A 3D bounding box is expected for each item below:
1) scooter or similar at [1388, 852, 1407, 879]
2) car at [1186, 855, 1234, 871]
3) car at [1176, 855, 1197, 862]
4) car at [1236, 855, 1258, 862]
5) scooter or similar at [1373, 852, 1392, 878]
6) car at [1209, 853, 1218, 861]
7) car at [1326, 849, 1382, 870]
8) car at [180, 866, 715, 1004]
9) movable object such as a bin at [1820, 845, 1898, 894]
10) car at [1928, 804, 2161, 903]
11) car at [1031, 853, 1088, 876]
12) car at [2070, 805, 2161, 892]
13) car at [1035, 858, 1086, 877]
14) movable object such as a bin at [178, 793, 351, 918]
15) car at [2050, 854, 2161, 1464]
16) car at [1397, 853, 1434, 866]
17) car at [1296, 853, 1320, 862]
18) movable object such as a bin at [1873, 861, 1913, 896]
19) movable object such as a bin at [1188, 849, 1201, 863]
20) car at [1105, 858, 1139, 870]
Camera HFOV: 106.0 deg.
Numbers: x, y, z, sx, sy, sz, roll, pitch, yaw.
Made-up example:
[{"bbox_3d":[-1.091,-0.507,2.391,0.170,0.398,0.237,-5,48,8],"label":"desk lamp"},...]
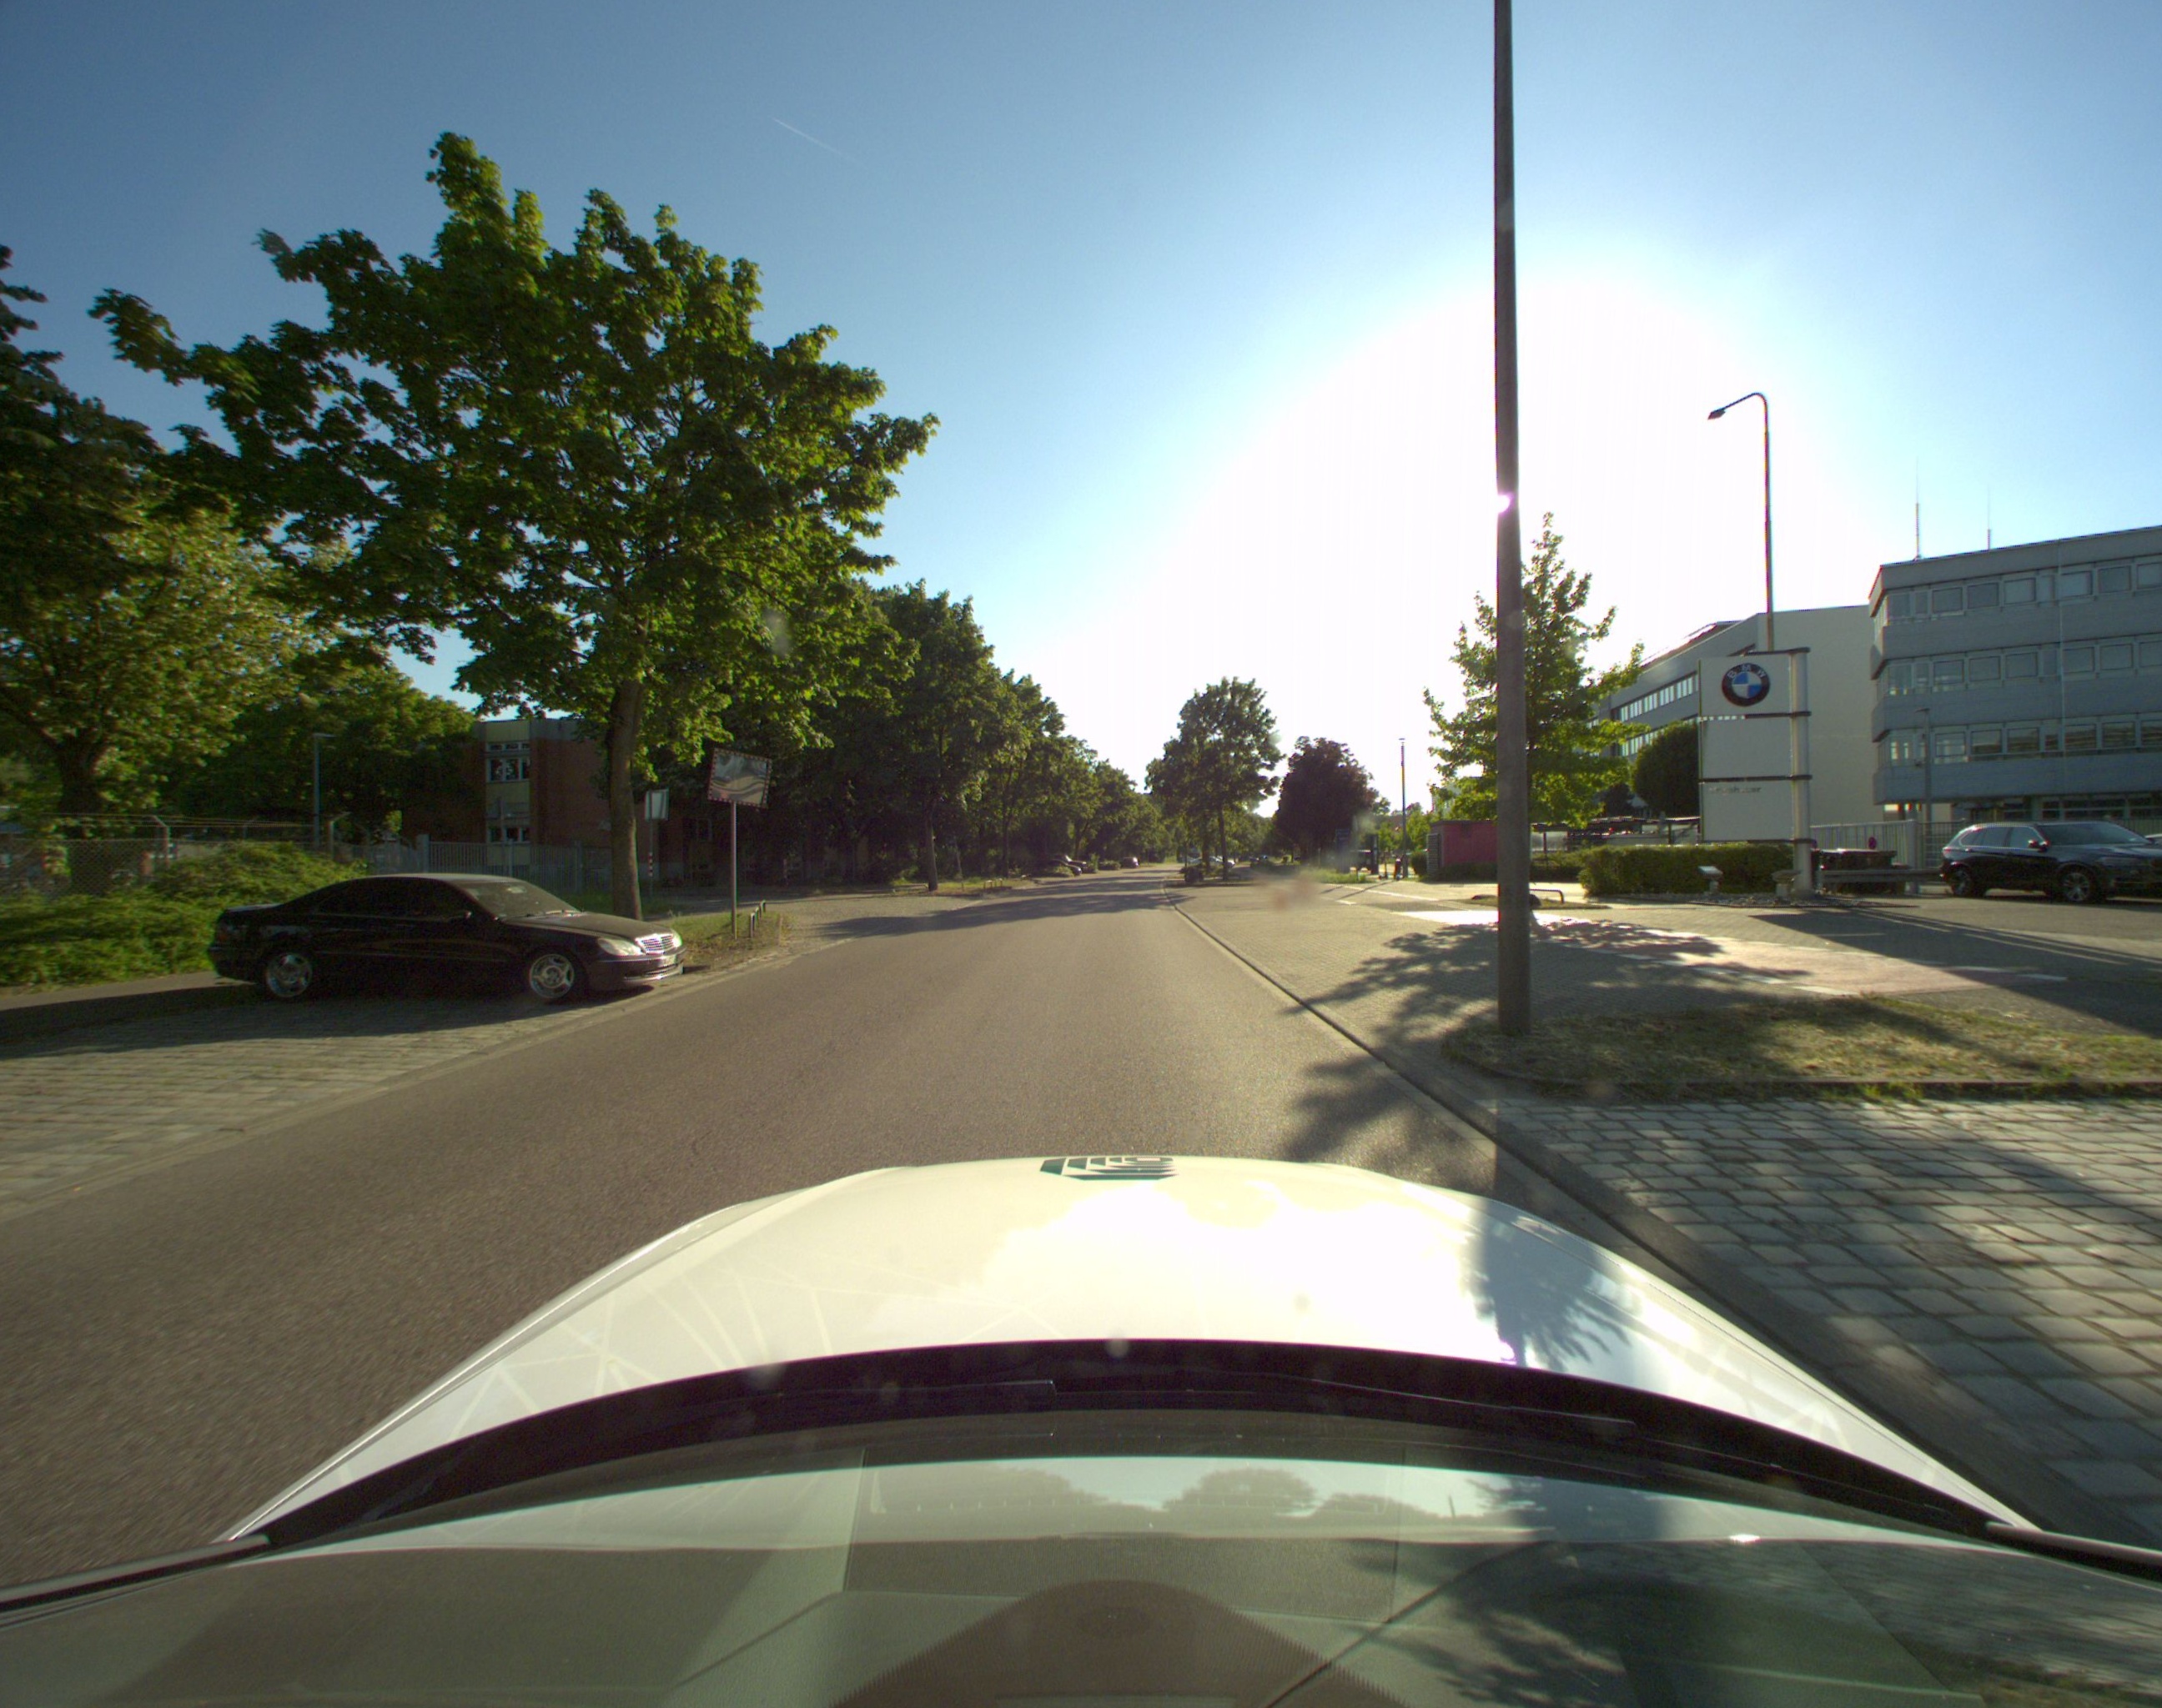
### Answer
[{"bbox_3d":[15.200,0.547,39.149,0.517,1.272,1.202,-1,0,6],"label":"scooter or similar"},{"bbox_3d":[14.060,0.976,88.974,5.145,1.574,2.163,-1,0,8],"label":"car"},{"bbox_3d":[23.665,1.067,183.167,4.326,1.547,2.008,1,0,15],"label":"car"},{"bbox_3d":[38.653,0.974,189.351,4.806,1.479,2.008,1,0,15],"label":"car"},{"bbox_3d":[15.114,0.538,40.851,0.517,1.272,1.389,-1,0,6],"label":"scooter or similar"},{"bbox_3d":[39.571,0.981,243.619,2.502,2.386,4.382,-1,-1,8],"label":"car"},{"bbox_3d":[25.749,0.512,76.978,2.007,1.933,4.904,-1,1,-32],"label":"car"},{"bbox_3d":[-7.554,0.923,10.144,5.018,1.462,2.000,1,0,0],"label":"car"},{"bbox_3d":[20.831,0.413,21.830,1.111,1.268,1.040,-1,-1,7],"label":"movable object such as a bin"},{"bbox_3d":[21.102,-0.021,17.330,2.016,1.828,4.997,-1,0,16],"label":"car"},{"bbox_3d":[-1.940,0.968,74.931,4.978,2.020,2.179,-1,-1,7],"label":"car"},{"bbox_3d":[23.627,-0.136,16.686,2.016,1.828,4.580,-1,0,16],"label":"car"},{"bbox_3d":[-1.803,1.190,71.206,4.189,1.530,1.709,-1,-1,7],"label":"car"},{"bbox_3d":[-19.702,0.042,19.930,2.174,2.664,4.752,-1,0,-35],"label":"movable object such as a bin"},{"bbox_3d":[4.711,0.667,1.081,4.467,1.404,2.033,-1,0,0],"label":"car"},{"bbox_3d":[40.455,0.694,98.484,4.314,1.527,1.751,-1,0,-28],"label":"car"},{"bbox_3d":[45.033,0.725,161.778,4.399,1.706,2.067,1,0,13],"label":"car"},{"bbox_3d":[21.953,0.666,22.015,0.502,0.921,0.606,-1,-1,10],"label":"movable object such as a bin"},{"bbox_3d":[27.346,0.487,195.370,2.821,3.068,4.941,1,0,10],"label":"movable object such as a bin"},{"bbox_3d":[5.637,1.405,111.558,4.330,1.479,2.006,1,0,11],"label":"car"}]
